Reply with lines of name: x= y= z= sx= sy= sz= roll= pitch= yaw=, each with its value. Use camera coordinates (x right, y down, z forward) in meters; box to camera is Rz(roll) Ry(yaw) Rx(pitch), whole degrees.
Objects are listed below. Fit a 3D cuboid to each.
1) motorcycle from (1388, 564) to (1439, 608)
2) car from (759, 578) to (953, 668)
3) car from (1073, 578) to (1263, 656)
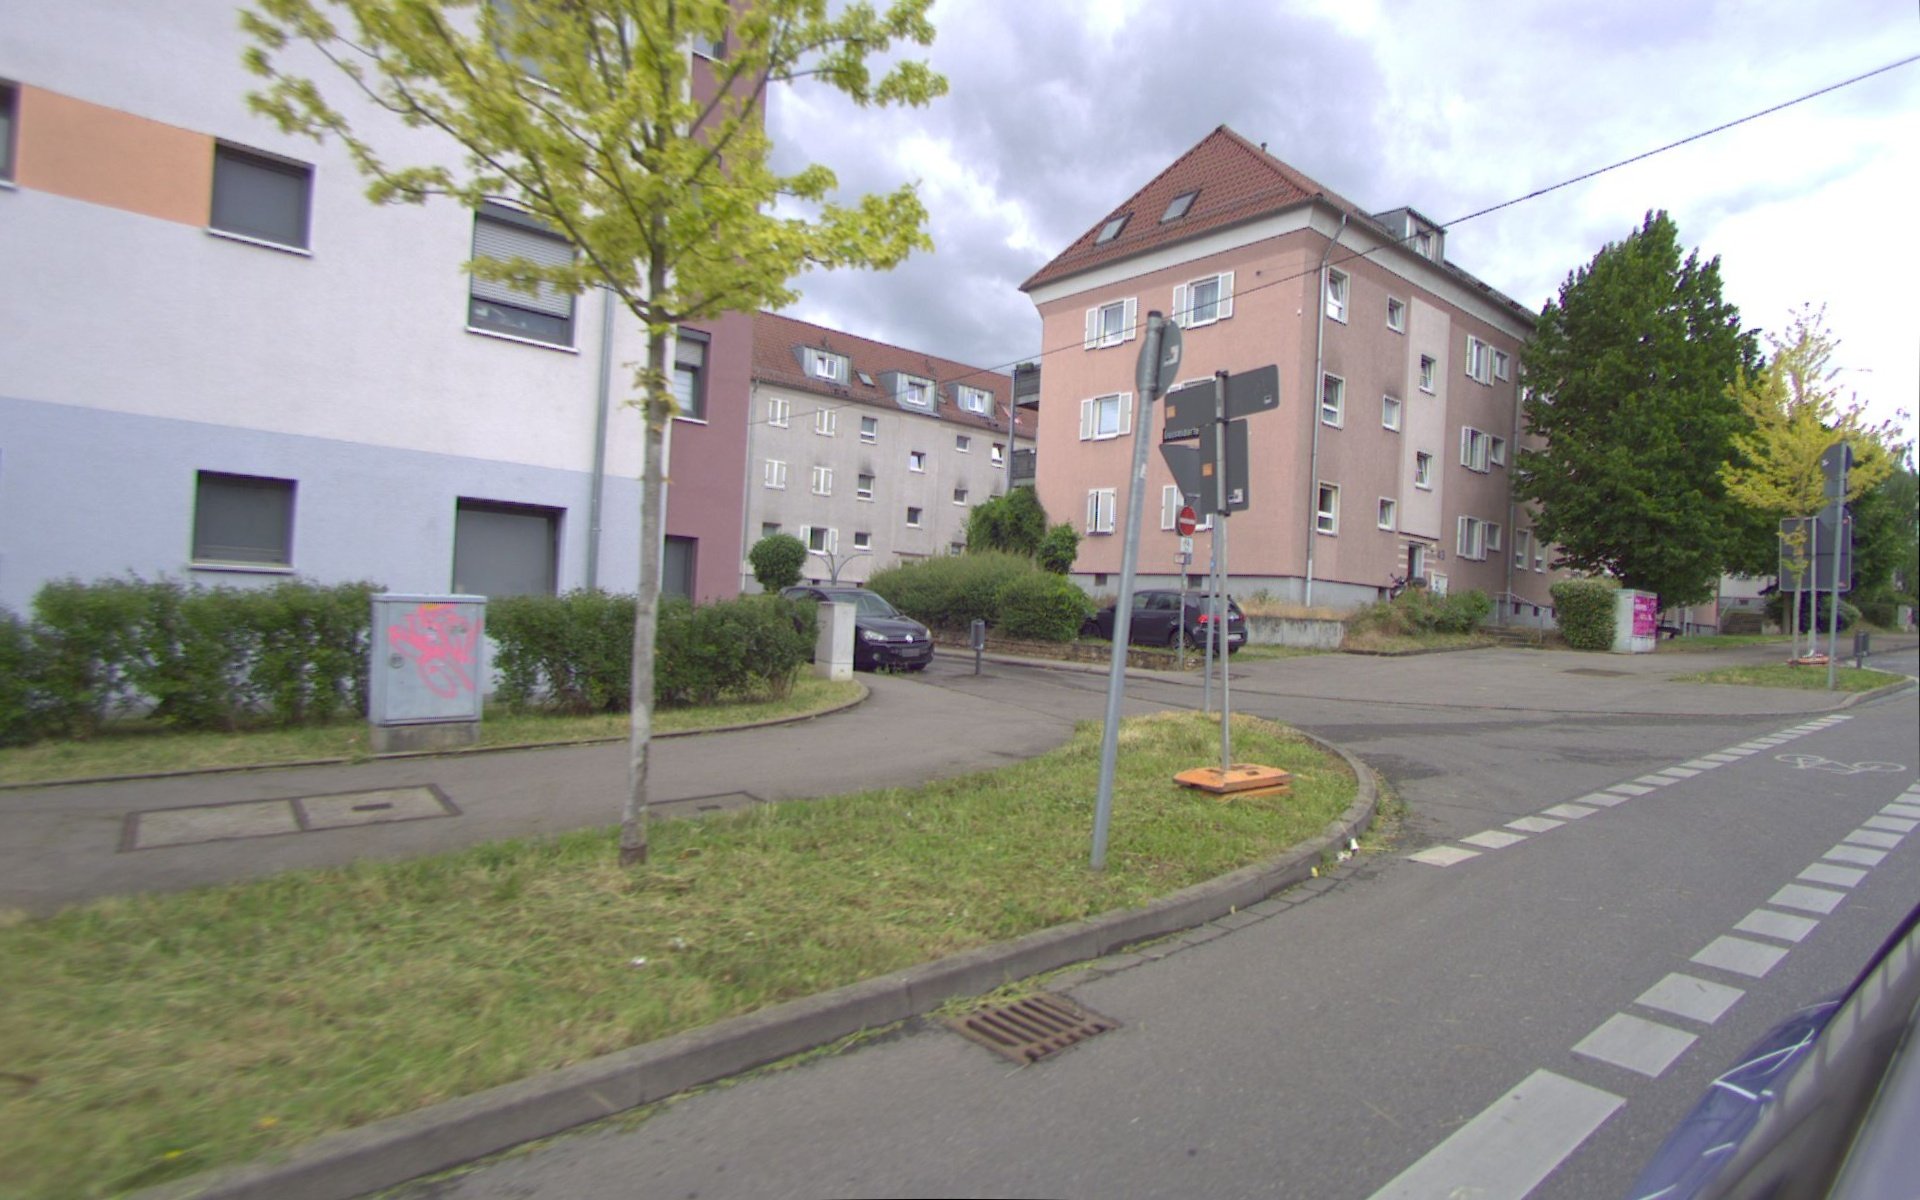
motorcycle: x=13.175 y=-0.402 z=29.374 sx=1.933 sy=1.243 sz=0.591 roll=1 pitch=0 yaw=-41
car: x=-2.036 y=0.355 z=18.813 sx=1.727 sy=1.474 sz=3.997 roll=1 pitch=0 yaw=-38
car: x=4.536 y=0.294 z=22.577 sx=1.658 sy=1.471 sz=3.997 roll=-1 pitch=3 yaw=-39
